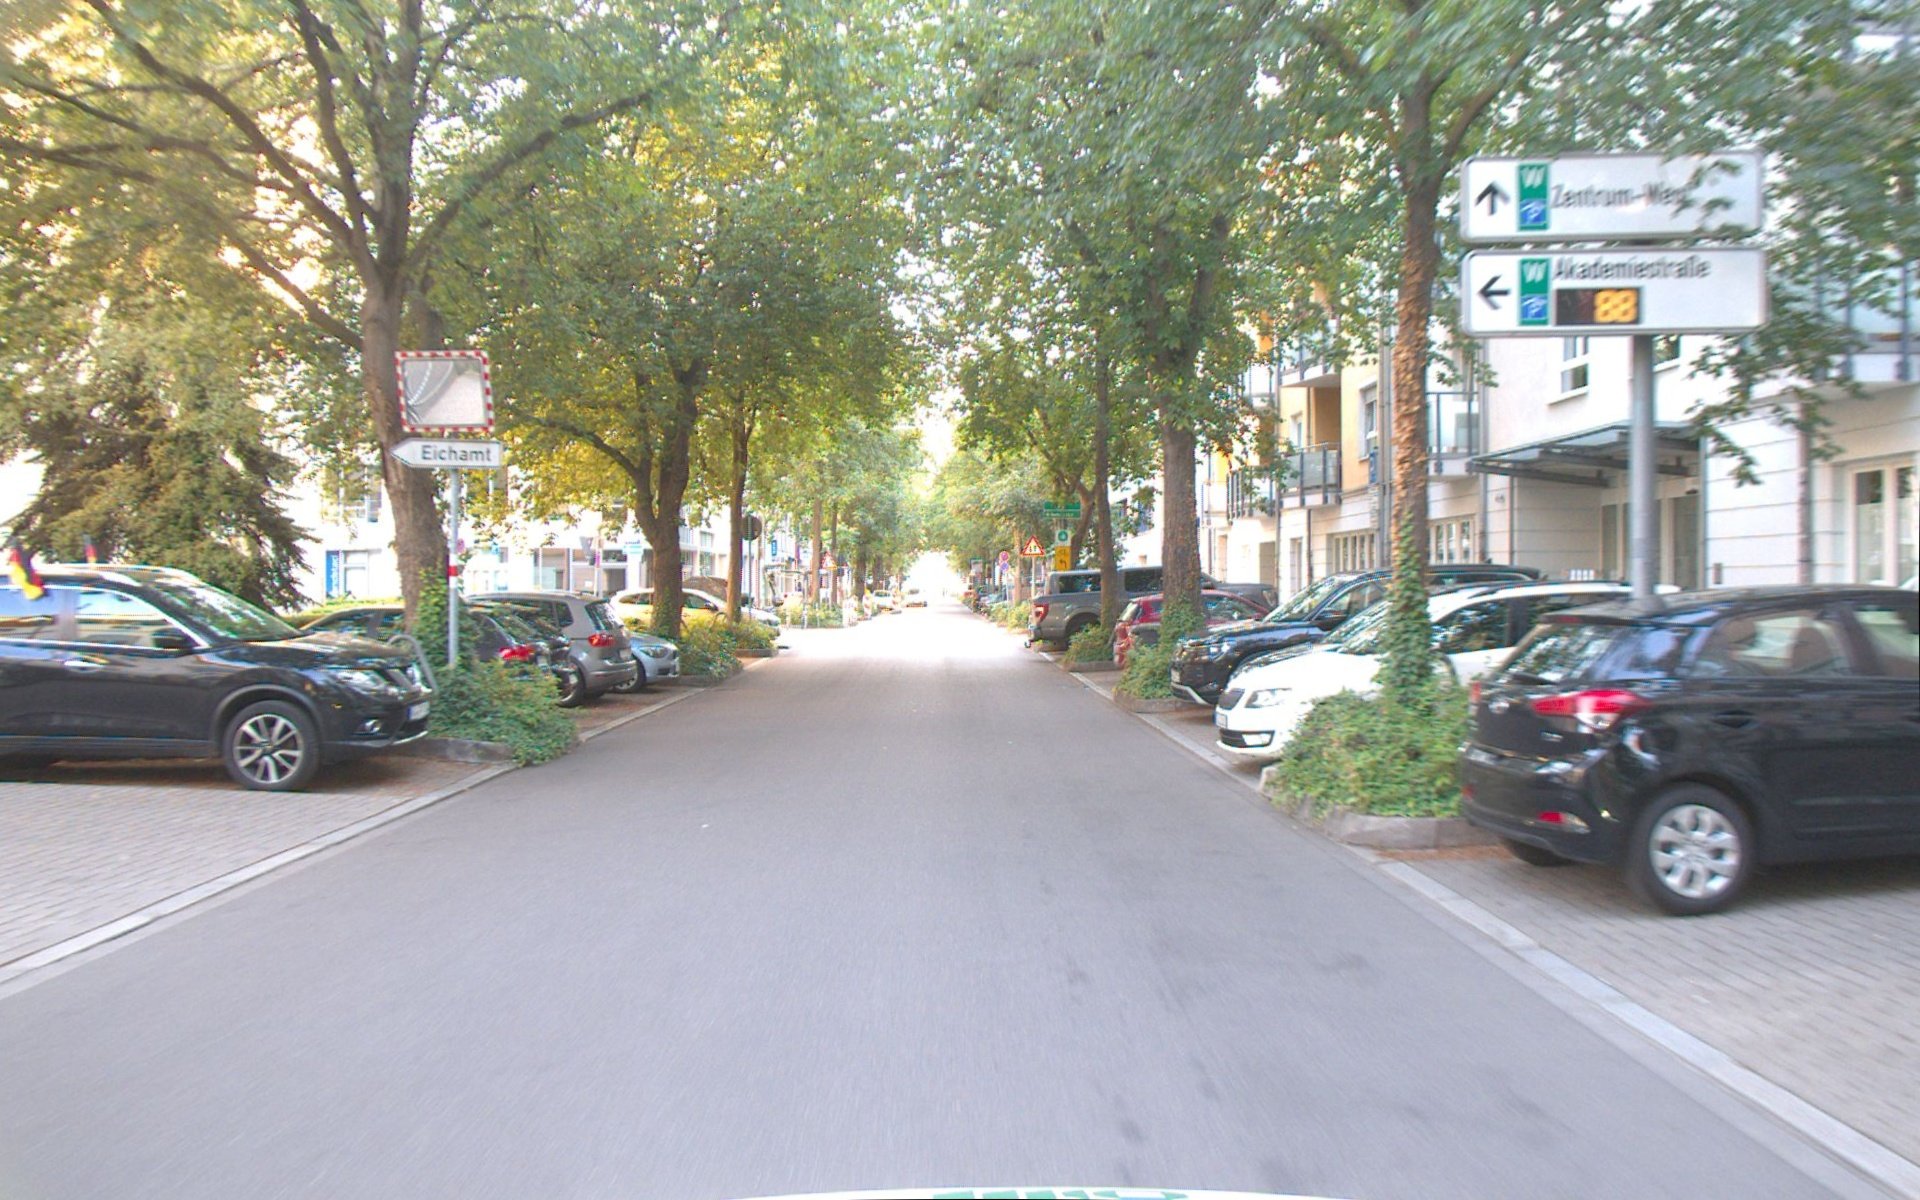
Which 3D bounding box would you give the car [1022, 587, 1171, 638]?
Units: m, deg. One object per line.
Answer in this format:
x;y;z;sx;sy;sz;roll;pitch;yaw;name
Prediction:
4.268;0.379;52.303;4.528;1.598;2.010;0;0;-1;car

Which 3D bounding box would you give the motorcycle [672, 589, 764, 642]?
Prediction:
-6.727;0.437;46.085;2.402;1.445;0.911;0;0;1;motorcycle

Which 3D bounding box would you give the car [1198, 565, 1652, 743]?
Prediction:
4.720;0.525;17.260;4.137;1.463;1.930;-4;0;1;car

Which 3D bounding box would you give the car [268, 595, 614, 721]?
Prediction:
-6.585;0.714;21.323;3.908;1.517;1.824;0;0;-3;car

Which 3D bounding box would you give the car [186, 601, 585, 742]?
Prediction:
-6.453;0.771;18.945;3.907;1.489;1.921;0;0;-3;car

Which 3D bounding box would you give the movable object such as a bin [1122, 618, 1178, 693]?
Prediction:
2.945;0.850;25.686;0.745;1.103;0.785;-2;0;0;movable object such as a bin

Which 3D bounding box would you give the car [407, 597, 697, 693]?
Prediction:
-6.475;0.701;26.619;4.200;1.454;1.879;0;0;-1;car

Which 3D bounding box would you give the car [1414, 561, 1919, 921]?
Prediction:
4.703;0.580;8.656;4.005;1.476;1.932;-4;1;-6;car

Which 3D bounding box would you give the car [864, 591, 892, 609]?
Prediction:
-6.238;0.009;125.384;1.955;1.310;3.996;0;0;-5;car

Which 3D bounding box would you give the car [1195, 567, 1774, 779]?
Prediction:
4.512;0.596;14.676;4.507;1.493;1.795;-3;0;-2;car

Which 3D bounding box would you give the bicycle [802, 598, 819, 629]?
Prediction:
-5.952;0.534;65.834;0.670;1.173;1.978;-1;1;-6;bicycle

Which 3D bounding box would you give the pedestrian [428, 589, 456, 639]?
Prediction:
-20.016;0.527;63.904;0.877;1.883;0.868;-1;0;-27;pedestrian

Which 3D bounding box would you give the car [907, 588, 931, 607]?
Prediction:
-3.521;-0.238;141.028;1.969;1.641;4.118;0;0;-2;car

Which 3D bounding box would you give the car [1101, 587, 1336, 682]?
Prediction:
4.359;0.558;28.267;3.700;1.571;1.877;0;0;-2;car

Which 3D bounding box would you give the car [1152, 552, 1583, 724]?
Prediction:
4.790;0.416;19.854;4.552;1.645;2.008;-4;0;-5;car

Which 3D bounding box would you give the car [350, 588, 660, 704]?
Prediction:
-6.526;0.634;23.989;3.903;1.593;1.930;0;0;4;car

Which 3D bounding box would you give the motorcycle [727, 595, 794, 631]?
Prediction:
-7.483;0.487;62.190;2.336;1.304;1.051;-1;1;-41;motorcycle

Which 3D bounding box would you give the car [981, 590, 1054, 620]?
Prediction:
3.078;0.259;89.275;3.905;1.612;2.000;0;0;1;car

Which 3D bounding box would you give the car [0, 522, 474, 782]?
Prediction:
-6.525;0.392;13.719;4.414;1.989;1.999;0;0;-3;car

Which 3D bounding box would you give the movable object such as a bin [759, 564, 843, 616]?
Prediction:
-7.722;-0.487;80.330;3.969;2.424;2.781;-1;1;-7;movable object such as a bin

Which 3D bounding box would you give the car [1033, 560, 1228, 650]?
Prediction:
4.126;0.103;40.625;4.507;2.102;2.197;-1;0;-2;car

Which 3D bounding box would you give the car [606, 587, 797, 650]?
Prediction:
-6.578;0.462;42.377;4.523;1.579;2.076;0;0;1;car

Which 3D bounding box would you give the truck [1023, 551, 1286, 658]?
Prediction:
4.372;0.089;37.886;5.767;2.351;2.212;0;0;0;truck
